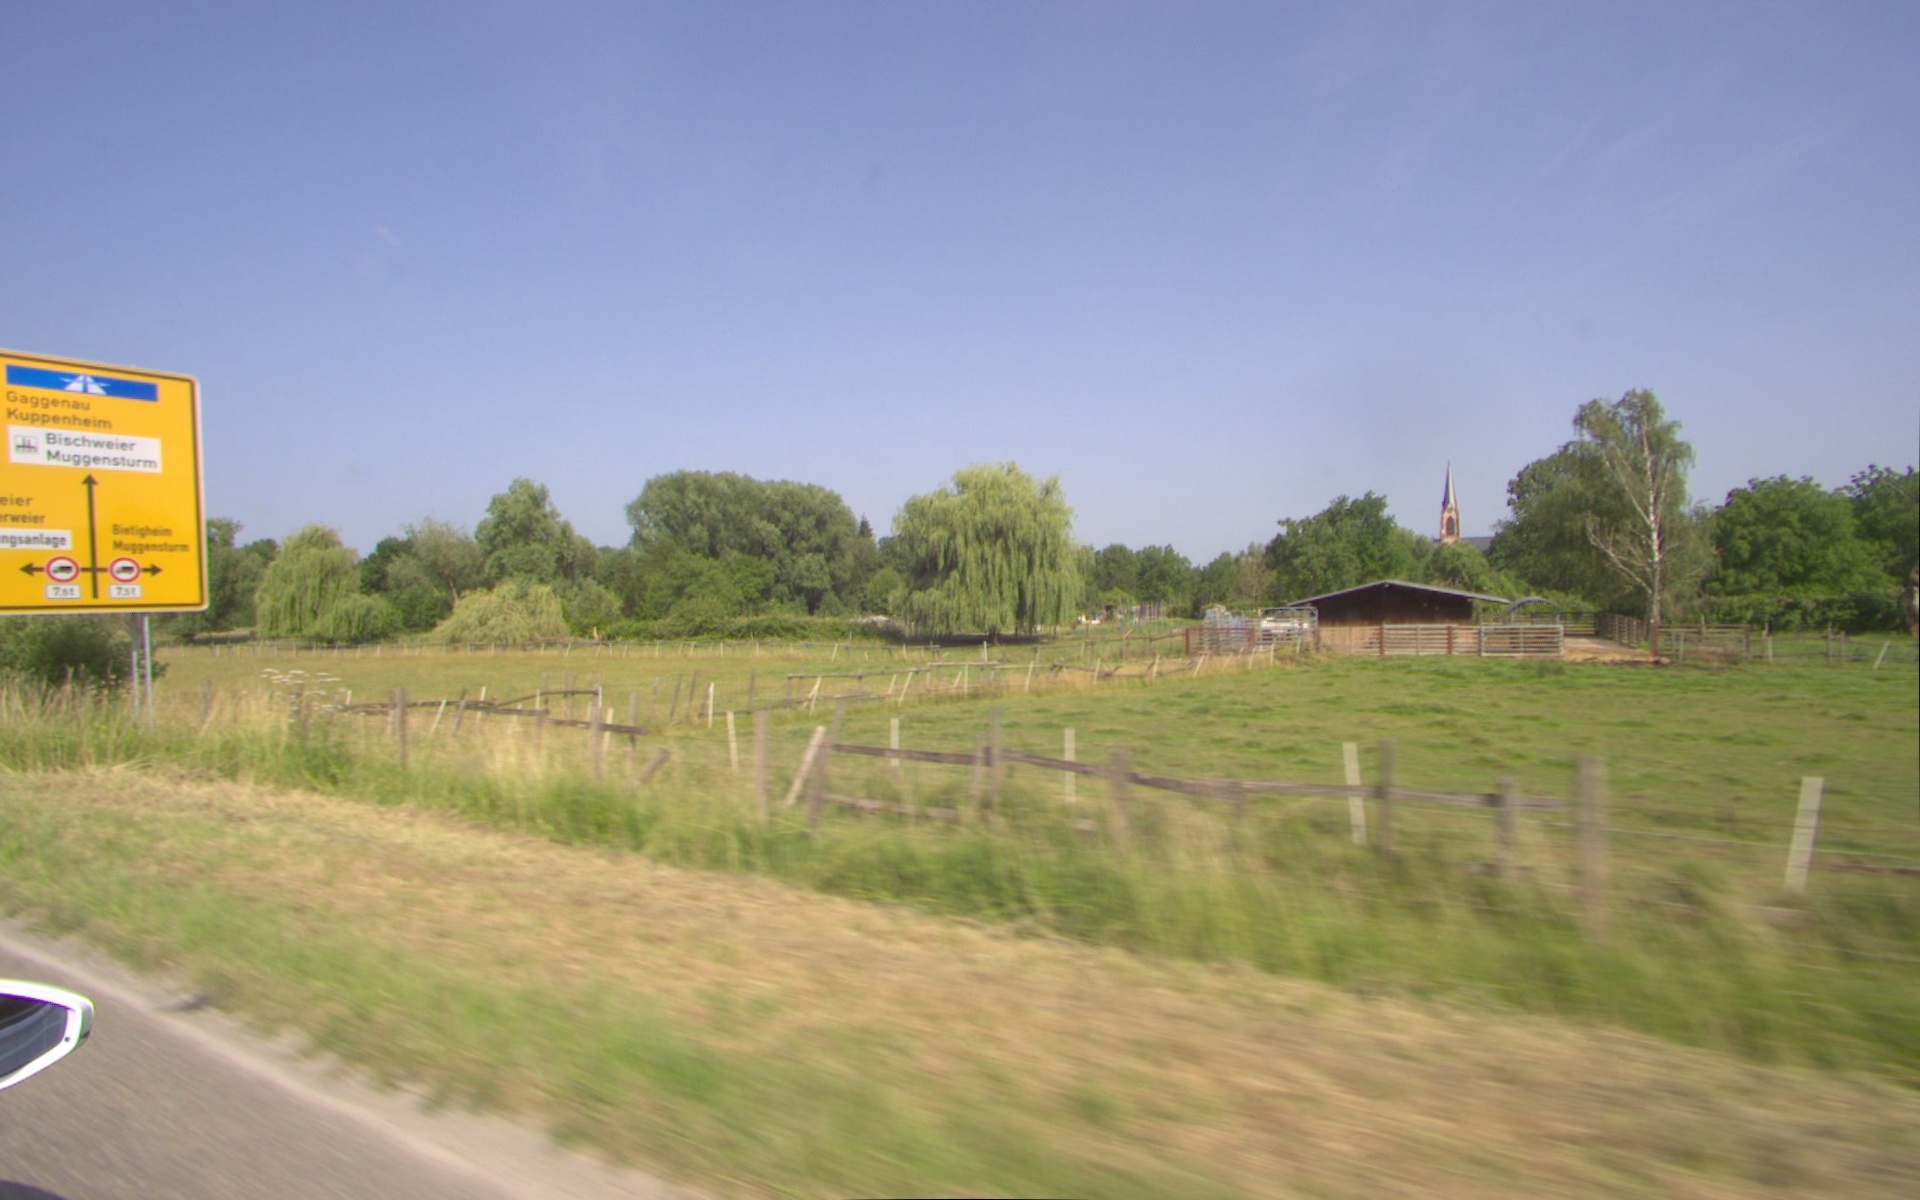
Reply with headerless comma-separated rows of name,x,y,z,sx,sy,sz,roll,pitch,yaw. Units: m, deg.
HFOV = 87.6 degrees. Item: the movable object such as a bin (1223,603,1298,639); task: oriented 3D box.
movable object such as a bin,18.880,1.342,62.897,4.106,2.222,1.989,-1,-1,33
